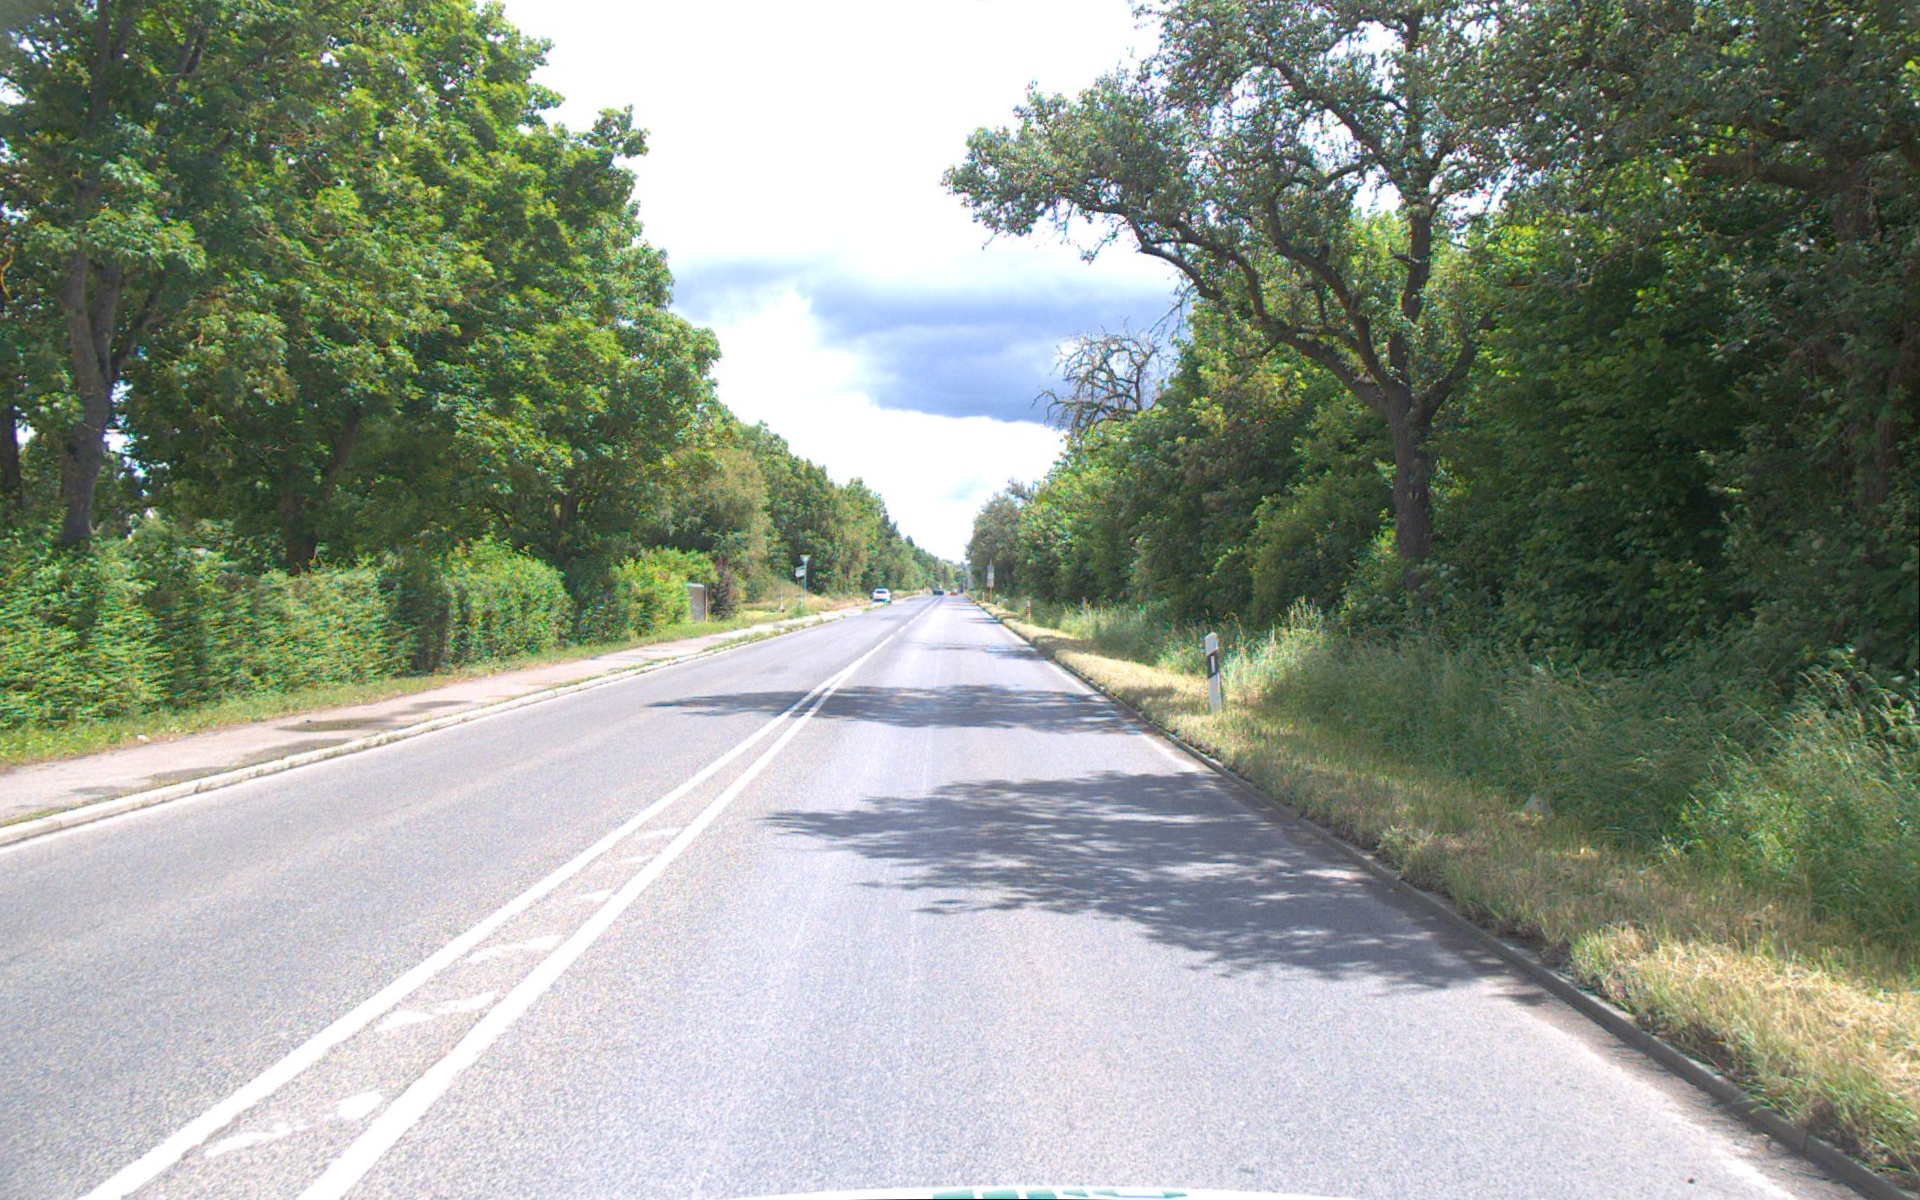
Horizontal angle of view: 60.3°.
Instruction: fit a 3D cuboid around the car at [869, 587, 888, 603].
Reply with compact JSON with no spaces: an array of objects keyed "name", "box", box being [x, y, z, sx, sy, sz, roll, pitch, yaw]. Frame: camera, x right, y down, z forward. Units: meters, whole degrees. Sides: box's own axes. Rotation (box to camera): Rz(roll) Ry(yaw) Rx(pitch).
[{"name":"car","box":[-8.667,-0.510,176.423,1.761,1.570,3.954,0,-1,0]}]
